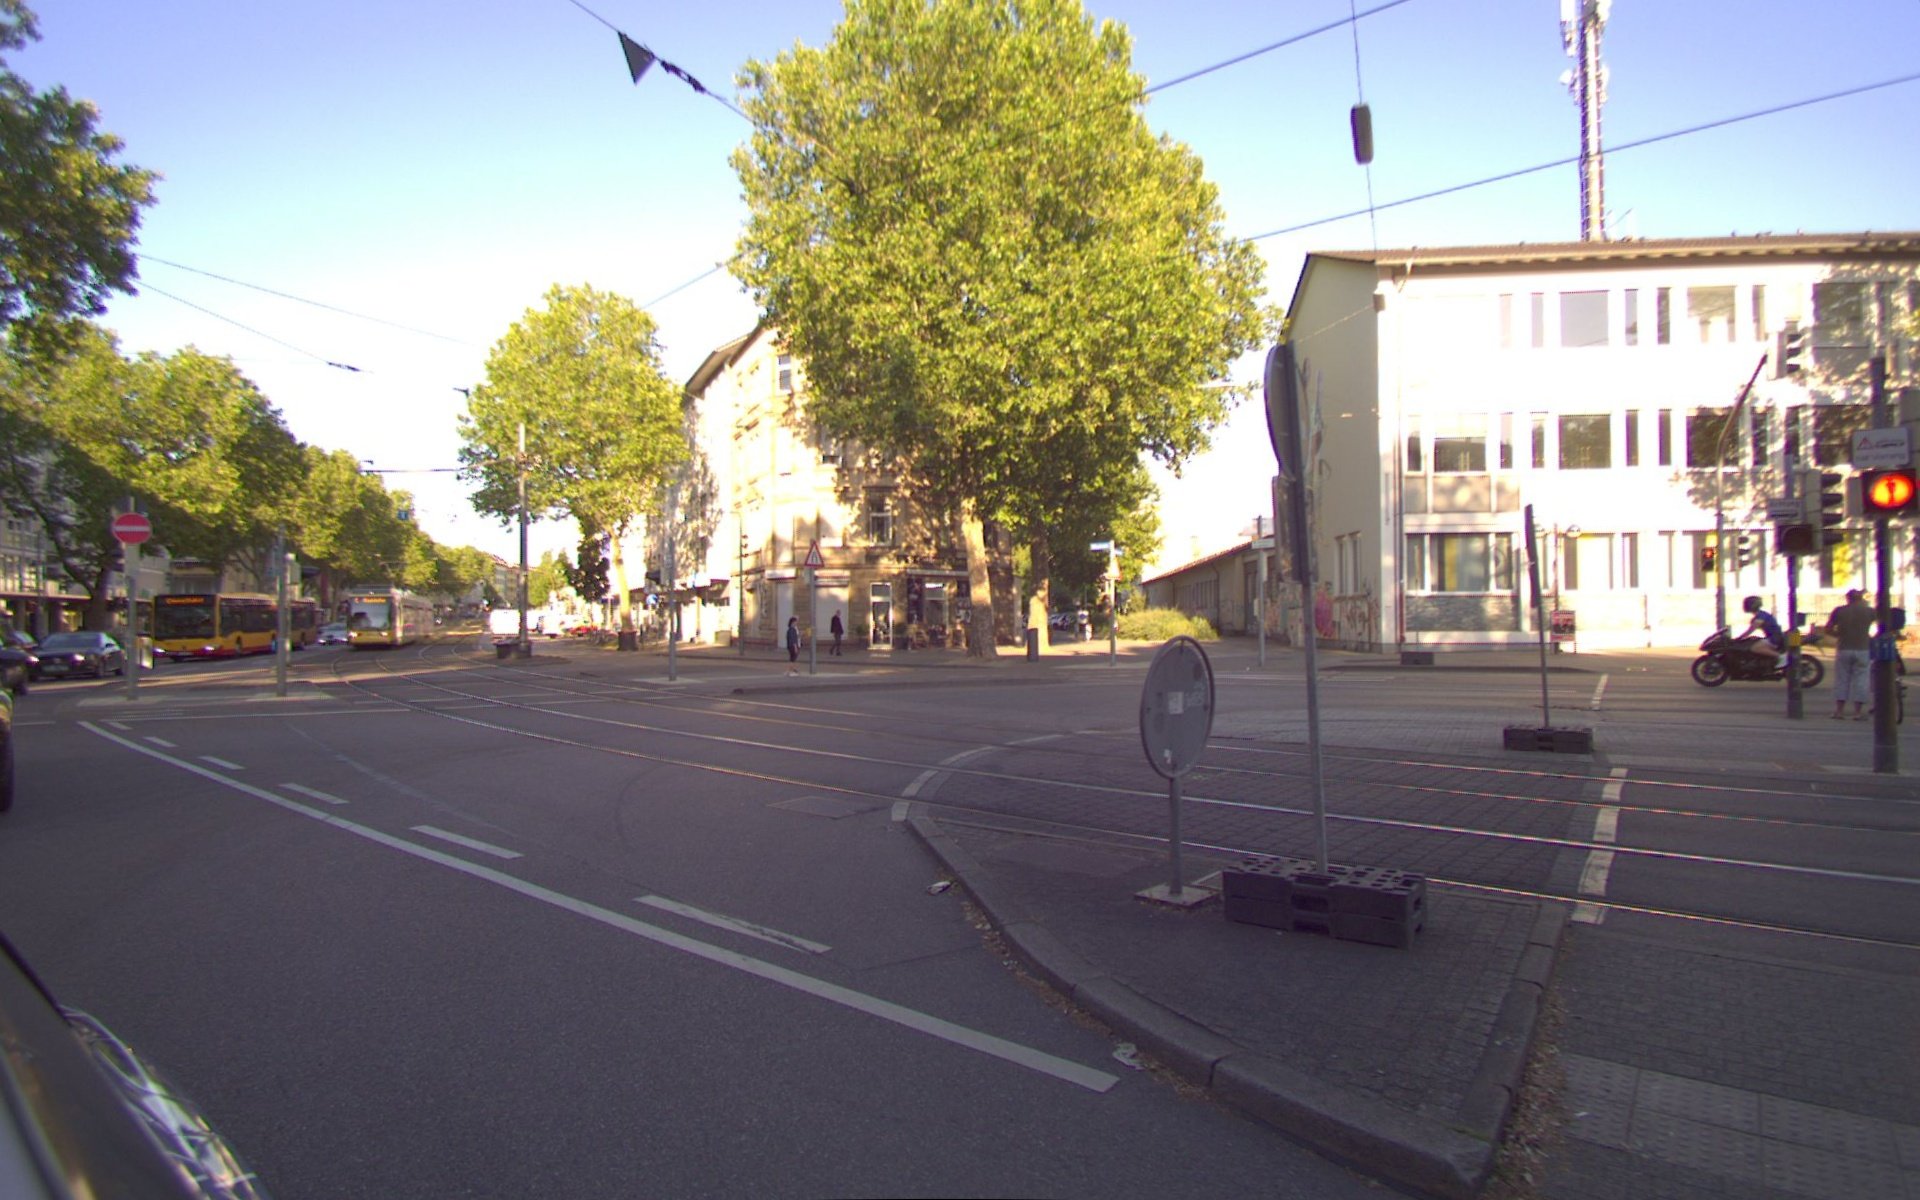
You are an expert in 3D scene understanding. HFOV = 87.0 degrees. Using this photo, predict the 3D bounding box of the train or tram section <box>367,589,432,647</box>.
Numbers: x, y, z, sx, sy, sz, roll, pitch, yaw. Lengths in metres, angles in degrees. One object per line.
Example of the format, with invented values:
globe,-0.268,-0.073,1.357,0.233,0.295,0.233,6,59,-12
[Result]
train or tram section,-36.772,1.176,66.707,2.795,3.514,10.372,-1,-1,-24

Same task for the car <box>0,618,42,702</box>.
car,-20.830,1.242,21.150,1.819,1.670,4.310,-1,0,-34

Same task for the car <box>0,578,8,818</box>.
car,-8.879,0.749,7.811,4.297,1.670,1.824,-2,0,41

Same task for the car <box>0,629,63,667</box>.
car,-38.803,1.966,41.854,1.624,1.483,3.720,-1,-2,-27

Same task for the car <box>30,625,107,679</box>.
car,-26.789,1.547,30.502,1.627,1.483,3.714,0,-2,-40

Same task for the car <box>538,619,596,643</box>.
car,-33.572,2.618,86.526,1.892,1.991,4.612,-2,-1,24

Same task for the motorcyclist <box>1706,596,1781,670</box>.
motorcyclist,14.475,0.614,18.725,0.982,1.325,0.674,-3,-3,35

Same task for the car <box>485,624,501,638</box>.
car,-62.597,4.191,135.672,1.786,1.790,4.013,0,-1,-27

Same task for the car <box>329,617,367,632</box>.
car,-81.512,3.276,134.889,1.871,2.029,3.963,-1,-1,27

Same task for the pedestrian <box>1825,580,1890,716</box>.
pedestrian,12.081,0.639,13.631,0.596,1.772,0.589,-2,-2,42

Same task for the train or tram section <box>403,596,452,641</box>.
train or tram section,-45.010,1.572,85.761,2.795,3.514,10.372,-1,-1,-23

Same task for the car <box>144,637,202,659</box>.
car,-48.289,2.919,62.120,1.196,1.226,2.604,-1,-1,28

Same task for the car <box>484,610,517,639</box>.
car,-35.050,1.933,77.155,2.131,2.138,4.994,1,-2,-26

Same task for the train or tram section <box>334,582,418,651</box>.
train or tram section,-32.715,0.919,57.109,2.776,3.514,10.372,-1,-1,-23

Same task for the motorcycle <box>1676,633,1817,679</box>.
motorcycle,14.485,1.042,18.713,1.990,0.814,0.674,-3,-3,35

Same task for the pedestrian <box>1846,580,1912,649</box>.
pedestrian,23.640,0.367,26.048,0.873,1.742,0.807,-1,-1,3

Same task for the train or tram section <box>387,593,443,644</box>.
train or tram section,-40.923,1.410,76.232,2.830,3.514,10.372,-1,-1,-24

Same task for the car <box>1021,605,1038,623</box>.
car,8.831,1.773,128.992,1.825,2.160,4.000,-1,-1,-1

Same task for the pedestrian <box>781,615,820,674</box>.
pedestrian,-4.209,1.162,26.725,0.794,1.520,0.794,-1,-1,12

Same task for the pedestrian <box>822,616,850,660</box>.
pedestrian,-5.077,1.560,41.328,0.800,1.769,0.788,-2,-2,35

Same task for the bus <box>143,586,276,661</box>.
bus,-34.644,1.077,47.152,2.707,3.127,9.527,0,-1,-22

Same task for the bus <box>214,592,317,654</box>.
bus,-38.189,1.286,56.023,2.707,3.127,9.527,0,-1,-22

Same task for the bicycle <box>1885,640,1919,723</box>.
bicycle,12.245,1.026,13.111,0.321,0.973,1.560,-2,-2,41

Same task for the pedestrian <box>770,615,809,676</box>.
pedestrian,-4.359,1.158,25.891,0.792,1.520,0.796,-1,-1,7

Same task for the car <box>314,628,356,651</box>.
car,-45.238,2.836,73.295,1.880,1.486,4.432,0,-1,-23
